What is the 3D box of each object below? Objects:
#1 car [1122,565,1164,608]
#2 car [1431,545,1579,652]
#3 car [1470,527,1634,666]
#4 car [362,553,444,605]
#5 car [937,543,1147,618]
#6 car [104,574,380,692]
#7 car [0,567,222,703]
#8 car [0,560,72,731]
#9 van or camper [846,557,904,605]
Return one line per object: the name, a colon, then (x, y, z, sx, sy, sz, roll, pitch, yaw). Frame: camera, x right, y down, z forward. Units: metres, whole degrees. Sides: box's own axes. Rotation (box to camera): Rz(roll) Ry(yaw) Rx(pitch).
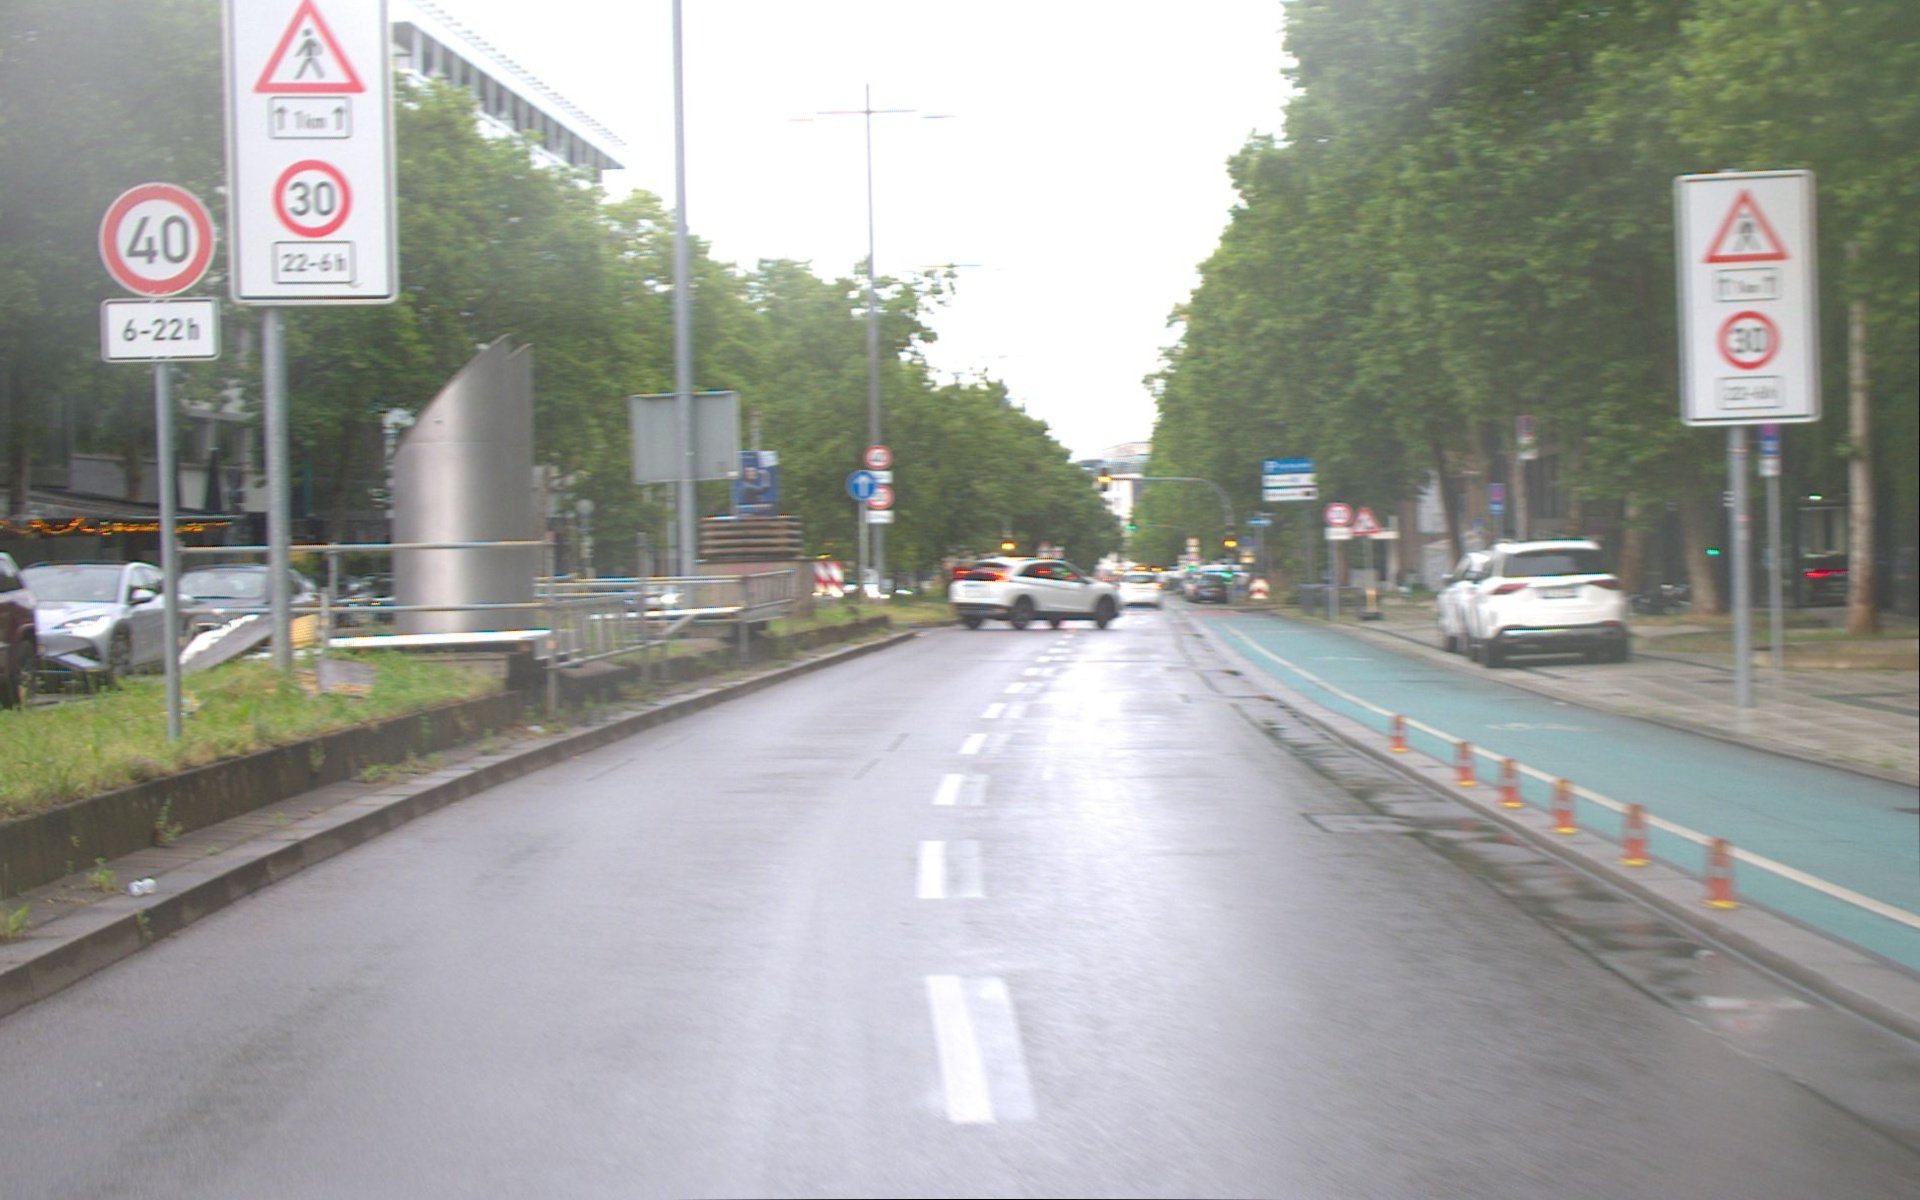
car: (7.401, -0.568, 139.271, 1.620, 1.660, 4.000, -2, 1, 3)
car: (8.771, -0.059, 55.648, 1.843, 1.627, 4.786, -1, 1, 3)
car: (8.453, -0.103, 49.428, 1.844, 1.832, 5.093, -2, 1, 5)
car: (-16.275, -0.633, 100.576, 1.693, 1.463, 3.459, -1, 1, 3)
car: (1.932, -0.477, 79.974, 4.875, 1.649, 1.999, -2, 1, -43)
car: (-10.257, 0.434, 49.493, 1.915, 1.547, 4.538, 0, 1, 17)
car: (-10.867, 0.400, 43.518, 1.735, 1.568, 4.831, -1, 1, 3)
car: (-10.931, 0.500, 35.680, 1.836, 1.760, 5.109, -1, 1, 3)
van or camper: (-3.526, -0.799, 143.417, 1.994, 1.907, 5.251, -1, 1, 3)
